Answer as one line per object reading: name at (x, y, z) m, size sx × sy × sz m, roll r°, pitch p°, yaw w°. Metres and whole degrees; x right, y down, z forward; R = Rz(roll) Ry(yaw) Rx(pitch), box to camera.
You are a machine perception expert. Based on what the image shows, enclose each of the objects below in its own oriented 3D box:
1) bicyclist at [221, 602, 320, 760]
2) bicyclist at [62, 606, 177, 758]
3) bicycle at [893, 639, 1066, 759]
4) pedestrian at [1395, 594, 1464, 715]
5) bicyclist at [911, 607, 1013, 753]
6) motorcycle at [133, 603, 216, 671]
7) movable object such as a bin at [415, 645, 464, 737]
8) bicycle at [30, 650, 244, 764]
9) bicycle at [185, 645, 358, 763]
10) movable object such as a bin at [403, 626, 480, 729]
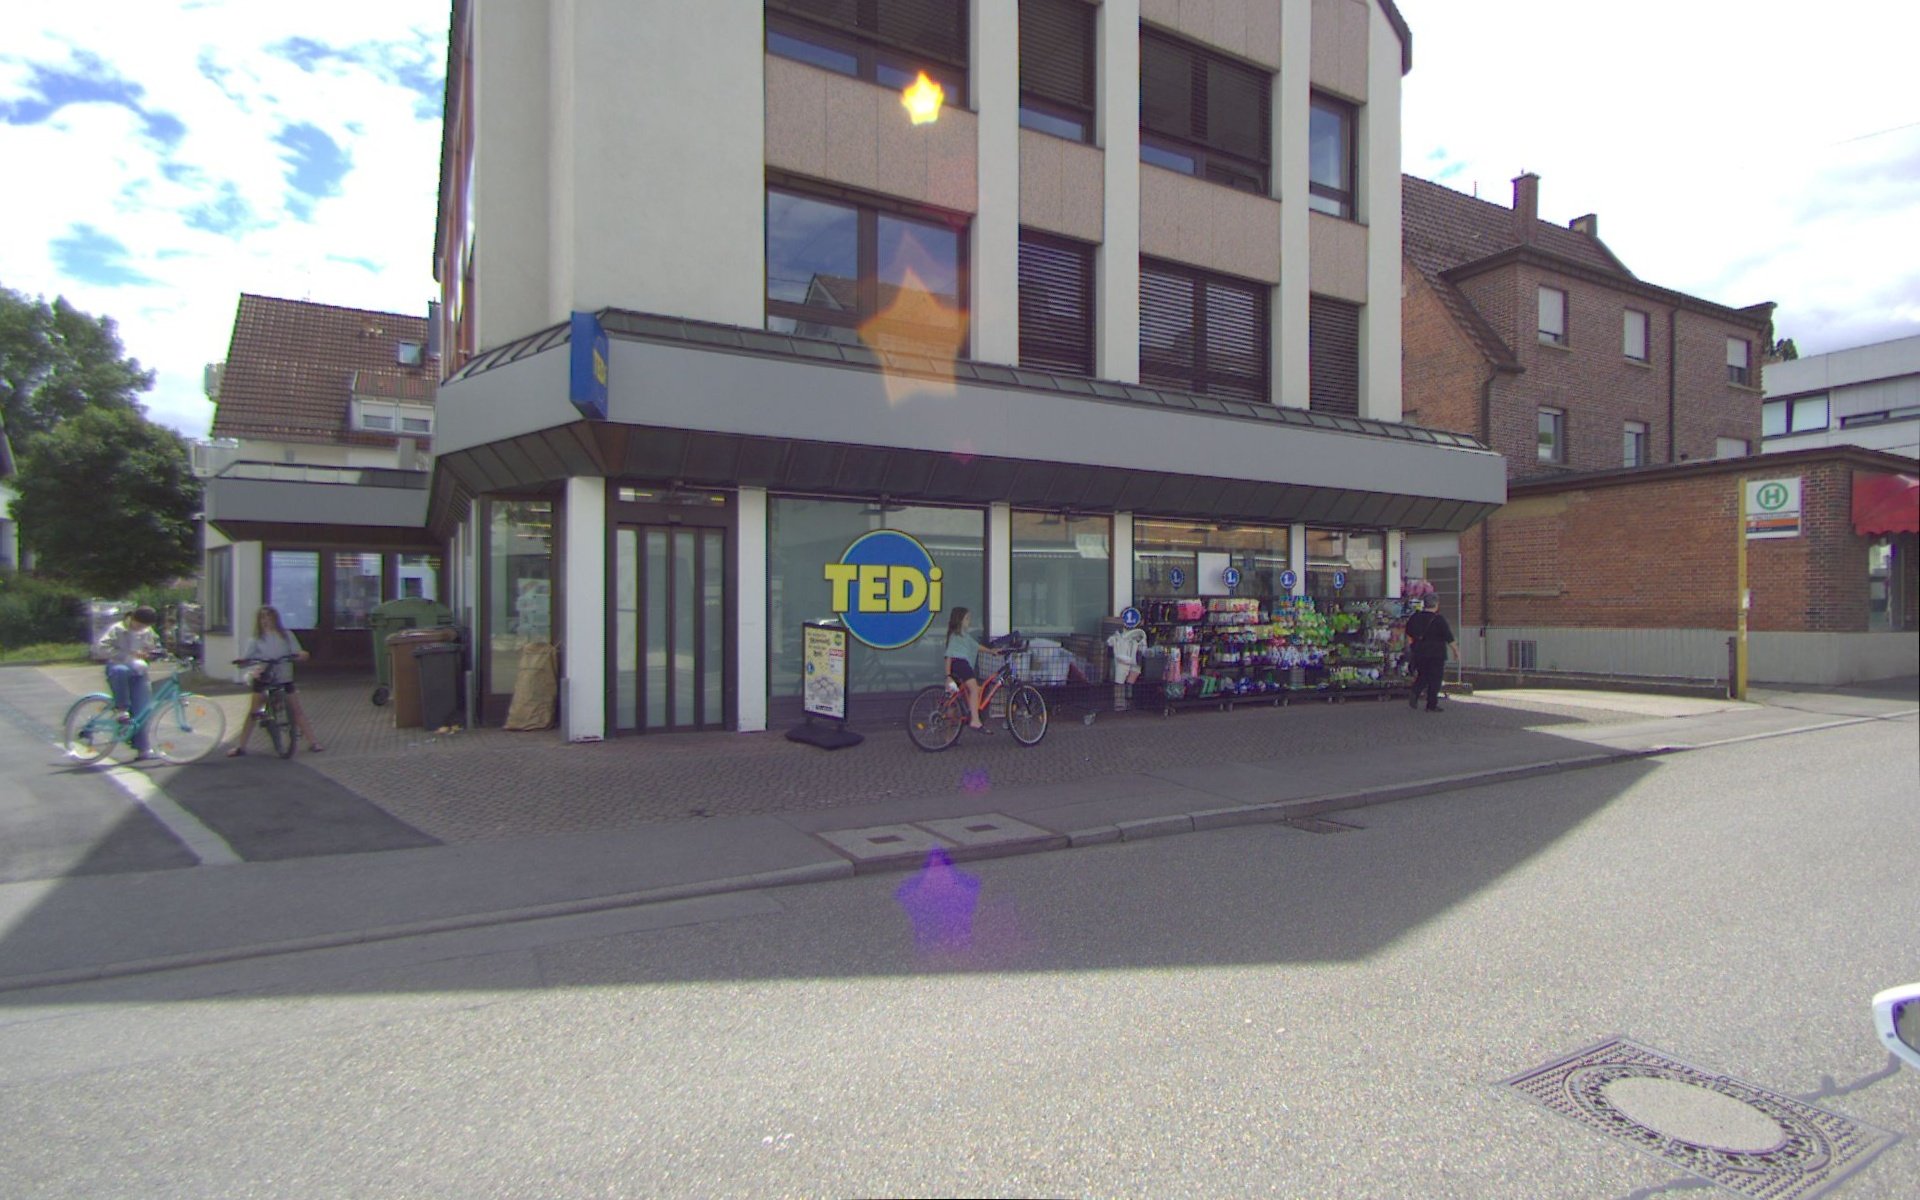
bicyclist at (-6.319, 0.720, 9.219) m, size 0.417 × 1.384 × 0.588 m, roll -1°, pitch 1°, yaw 28°
bicyclist at (-7.293, 0.692, 8.739) m, size 0.418 × 1.258 × 0.642 m, roll 1°, pitch 0°, yaw 3°
bicycle at (0.214, 0.956, 10.081) m, size 1.714 × 1.064 × 0.441 m, roll 0°, pitch 6°, yaw -30°
pedestrian at (6.418, 0.729, 13.763) m, size 0.757 × 1.579 × 0.574 m, roll 2°, pitch 0°, yaw 20°
bicyclist at (0.012, 0.771, 10.050) m, size 0.753 × 1.355 × 0.664 m, roll 0°, pitch 4°, yaw -30°
motorcycle at (-19.128, 0.862, 24.559) m, size 0.849 × 1.539 × 3.595 m, roll 1°, pitch -1°, yaw -26°
movable object such as a bin at (-5.632, 0.971, 10.865) m, size 0.438 × 0.923 × 0.405 m, roll -2°, pitch 1°, yaw -30°
bicycle at (-7.136, 0.914, 8.728) m, size 1.557 × 0.929 × 0.459 m, roll 0°, pitch 0°, yaw 6°
bicycle at (-6.327, 0.920, 9.217) m, size 1.659 × 0.967 × 0.554 m, roll 0°, pitch 0°, yaw 26°
movable object such as a bin at (-5.915, 0.864, 11.451) m, size 0.729 × 1.080 × 0.680 m, roll -2°, pitch 1°, yaw -30°
